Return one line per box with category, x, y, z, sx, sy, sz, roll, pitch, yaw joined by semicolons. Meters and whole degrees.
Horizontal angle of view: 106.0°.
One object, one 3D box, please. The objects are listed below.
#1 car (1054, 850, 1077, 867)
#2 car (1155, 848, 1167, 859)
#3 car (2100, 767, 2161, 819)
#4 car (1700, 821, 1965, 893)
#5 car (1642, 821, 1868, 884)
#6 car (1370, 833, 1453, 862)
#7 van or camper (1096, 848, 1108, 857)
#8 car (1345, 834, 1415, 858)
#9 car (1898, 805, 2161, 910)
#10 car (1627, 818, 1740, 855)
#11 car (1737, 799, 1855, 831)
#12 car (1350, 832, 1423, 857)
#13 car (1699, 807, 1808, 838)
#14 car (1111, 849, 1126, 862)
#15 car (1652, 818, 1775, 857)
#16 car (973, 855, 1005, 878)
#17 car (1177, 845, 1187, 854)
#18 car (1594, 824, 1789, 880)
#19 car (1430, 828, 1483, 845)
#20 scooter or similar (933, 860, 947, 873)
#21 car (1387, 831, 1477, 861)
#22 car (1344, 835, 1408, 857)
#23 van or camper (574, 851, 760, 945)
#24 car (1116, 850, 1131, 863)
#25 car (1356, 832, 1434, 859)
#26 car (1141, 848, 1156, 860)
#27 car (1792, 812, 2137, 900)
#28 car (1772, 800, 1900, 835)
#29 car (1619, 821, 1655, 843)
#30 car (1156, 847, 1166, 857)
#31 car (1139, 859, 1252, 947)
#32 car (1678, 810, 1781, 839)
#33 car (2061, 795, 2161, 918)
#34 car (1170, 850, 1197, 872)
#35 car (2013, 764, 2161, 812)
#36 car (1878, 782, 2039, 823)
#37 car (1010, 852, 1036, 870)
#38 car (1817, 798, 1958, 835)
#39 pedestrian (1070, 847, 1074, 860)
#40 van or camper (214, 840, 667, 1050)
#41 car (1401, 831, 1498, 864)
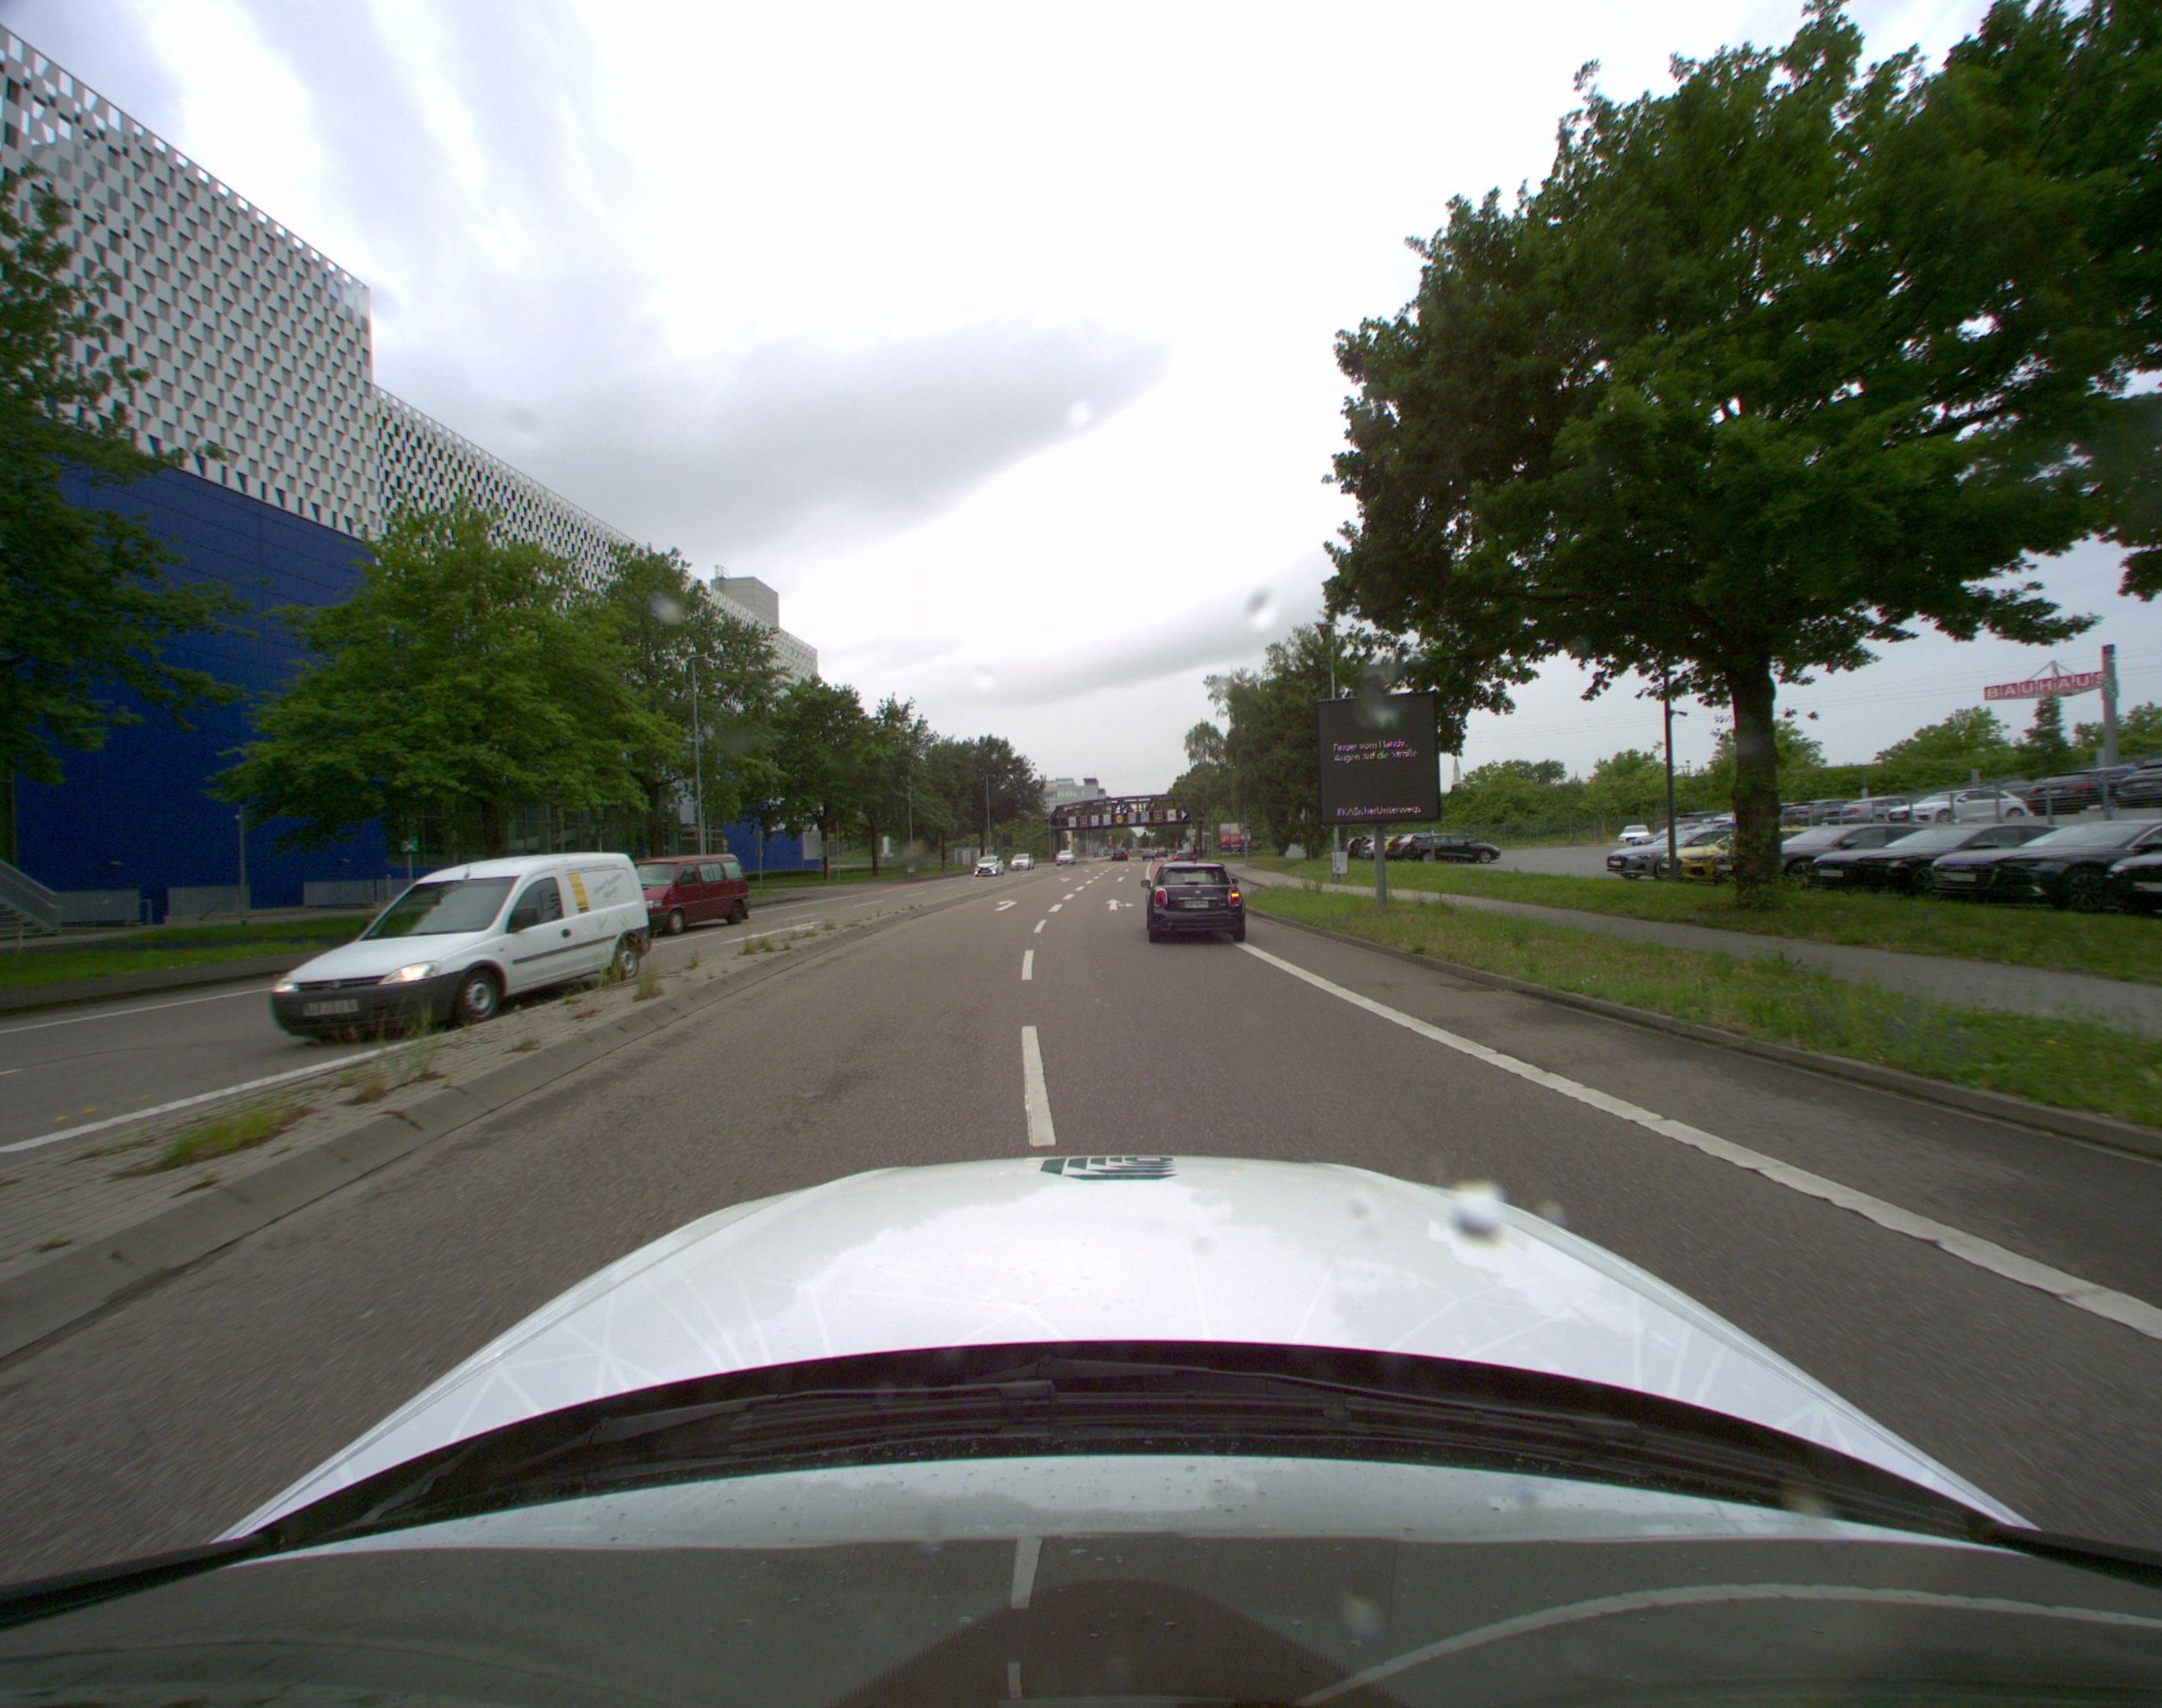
car;-1.647;0.490;89.843;1.929;1.675;3.790;-1;2;7
car;13.234;-0.037;134.248;1.874;1.661;3.790;-1;2;7
car;32.535;-1.783;23.432;4.068;1.435;1.732;-1;2;3
car;16.356;0.033;17.915;4.068;1.435;1.824;-1;2;3
car;16.658;-0.070;20.308;4.068;1.435;1.848;-1;2;3
car;17.996;-0.370;44.520;3.961;1.435;1.736;-1;2;11
van or camper;5.961;-0.367;232.078;1.980;2.485;7.052;-2;0;13
car;19.015;-0.516;51.869;3.961;1.435;1.736;-1;2;11
car;16.178;0.073;12.921;4.323;1.503;1.932;1;1;4
car;28.524;-0.845;38.637;4.068;1.620;1.732;-1;2;3
car;34.135;-1.850;38.944;4.068;1.435;1.732;-1;2;3
car;18.684;-0.563;49.960;3.961;1.435;1.736;-1;2;11
car;34.150;-1.591;41.420;4.068;1.435;1.732;-1;2;3
car;5.442;0.234;117.336;1.874;1.661;3.790;-1;2;7
car;27.847;-0.733;35.943;4.068;1.620;1.732;-1;2;3
car;-6.754;0.908;59.886;1.747;1.446;3.343;-1;2;3
car;20.915;-0.974;168.657;1.939;1.815;4.009;-1;2;7
car;16.842;-0.074;22.622;4.068;1.435;1.732;-1;2;3
car;32.691;-1.516;70.975;3.961;1.435;1.736;-1;2;11
scooter or similar;-12.359;1.081;71.399;0.759;1.089;2.009;-1;2;4
car;17.817;-0.433;41.513;3.961;1.435;1.736;-1;2;11
car;20.192;-0.554;55.848;3.961;1.435;1.736;-1;2;11
van or camper;-10.366;0.994;20.927;1.866;1.986;4.896;-3;1;5
car;6.471;0.342;123.864;1.939;1.815;4.009;-1;2;7
car;18.027;-0.494;46.883;3.961;1.435;1.736;-1;2;11
car;10.601;0.013;127.182;2.124;1.661;3.790;-1;2;7
car;16.359;0.034;15.284;4.323;1.488;1.845;-1;0;4
car;33.651;-1.634;36.385;4.068;1.435;1.732;-1;2;3
car;38.774;-1.550;56.726;1.974;1.398;4.026;0;3;36
car;15.683;-0.412;159.317;1.939;1.815;4.009;-1;2;7
car;2.074;0.835;15.655;1.779;1.415;3.646;2;0;2
car;34.540;-1.587;43.429;4.068;1.435;1.732;-1;2;3
car;16.031;0.109;10.387;4.425;1.571;2.003;2;1;4
car;7.393;0.473;58.472;1.747;1.434;4.010;-2;1;8
car;32.932;-2.101;26.080;4.068;1.435;1.732;-1;2;3
car;33.544;-1.943;31.236;4.181;1.435;1.732;-1;2;3
car;-5.266;0.615;74.004;1.710;1.371;3.448;-1;2;7
car;33.462;-1.559;33.884;4.068;1.435;1.732;-1;2;3
pedestrian;-1.471;-0.059;134.793;0.536;2.013;0.486;-1;2;16
van or camper;-6.938;0.812;9.612;1.750;1.747;4.405;-5;0;-1
car;17.616;-0.318;39.085;3.961;1.435;1.736;-1;2;11
